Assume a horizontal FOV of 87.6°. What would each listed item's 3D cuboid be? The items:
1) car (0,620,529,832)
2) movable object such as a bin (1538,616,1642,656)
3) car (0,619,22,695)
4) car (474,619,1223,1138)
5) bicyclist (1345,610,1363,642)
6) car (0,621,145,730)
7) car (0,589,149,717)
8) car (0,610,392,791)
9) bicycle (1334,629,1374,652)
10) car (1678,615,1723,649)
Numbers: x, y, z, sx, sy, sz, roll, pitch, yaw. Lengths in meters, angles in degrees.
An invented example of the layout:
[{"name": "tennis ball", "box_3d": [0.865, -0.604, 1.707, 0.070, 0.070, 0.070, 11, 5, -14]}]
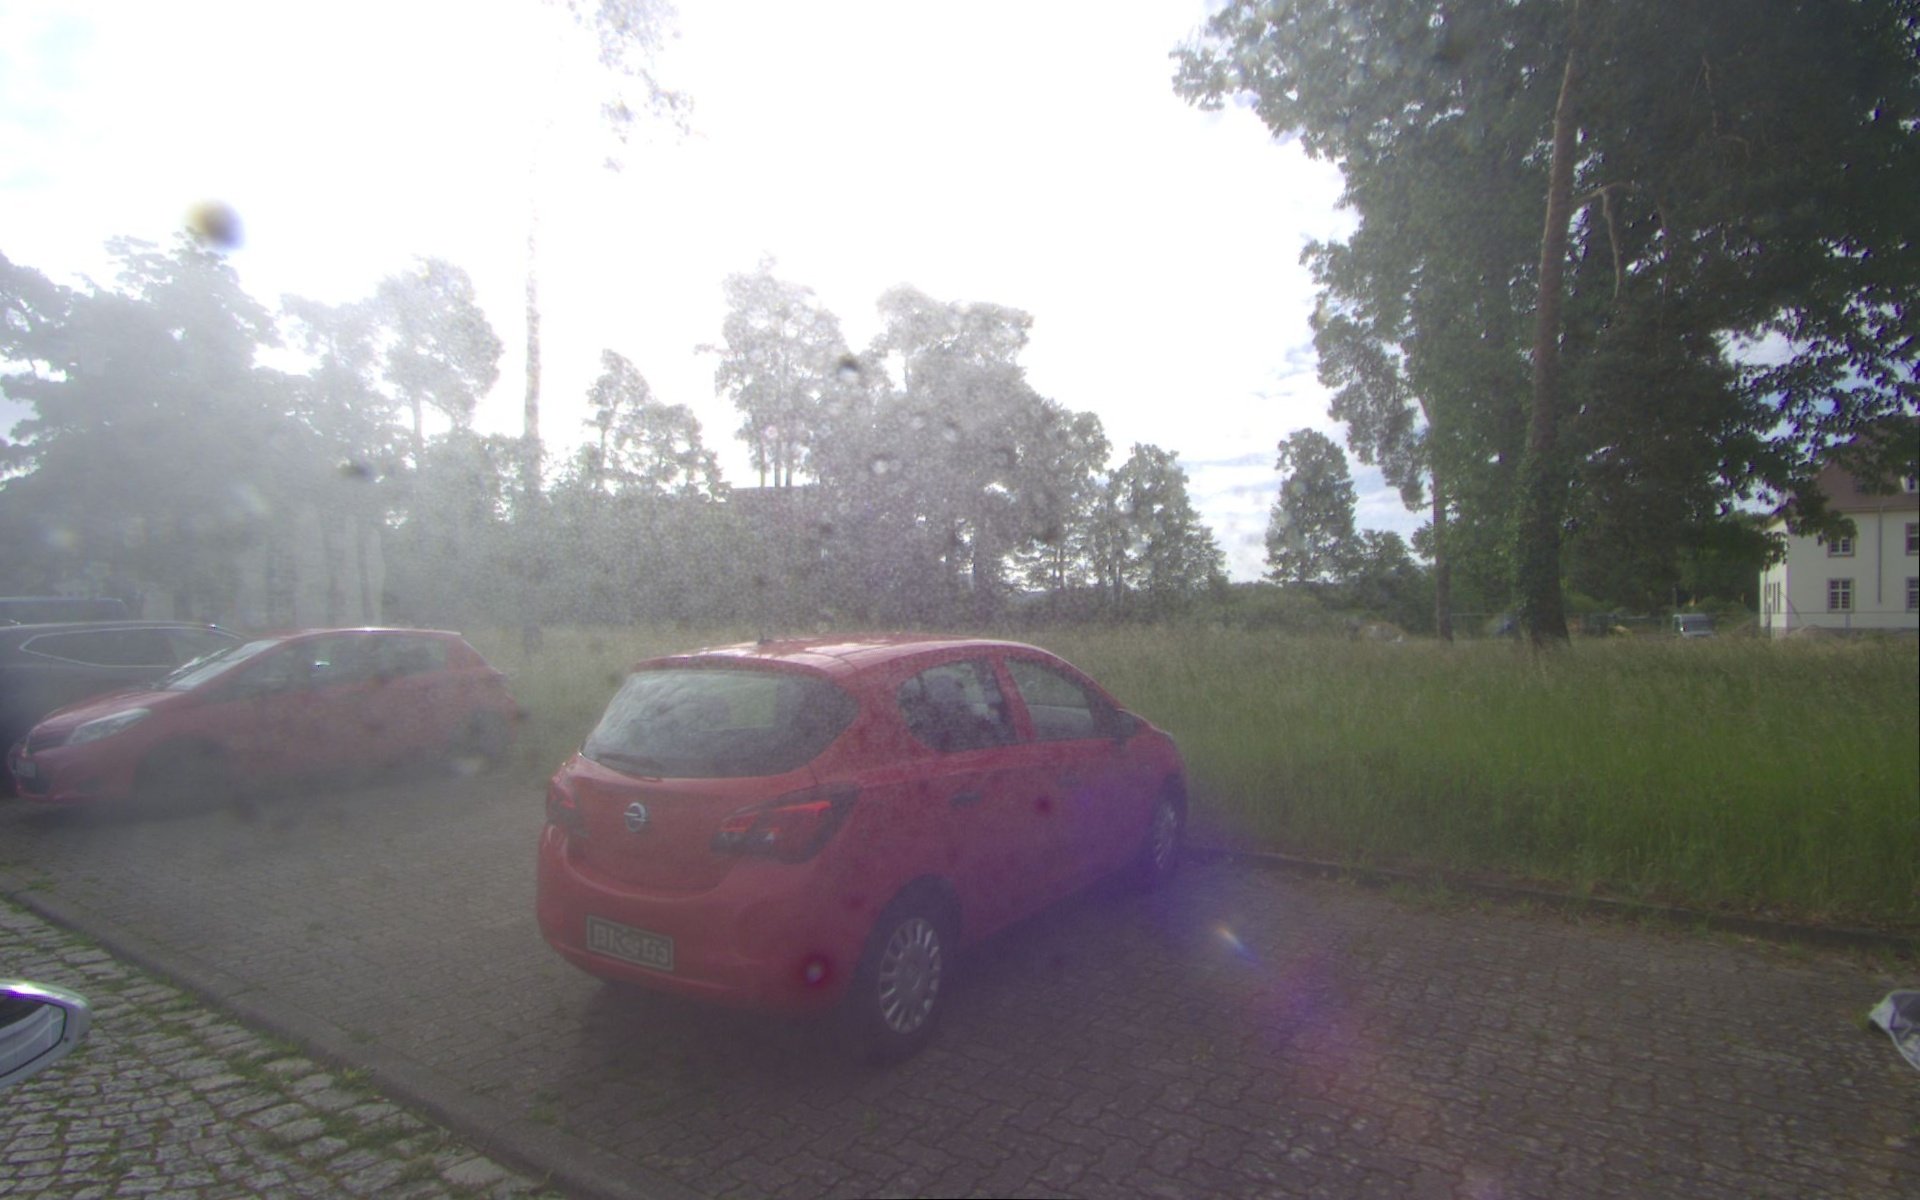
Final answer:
[{"name": "car", "box_3d": [-6.266, 0.962, 9.354, 1.727, 1.479, 3.782, -1, 0, 34]}, {"name": "movable object such as a bin", "box_3d": [44.315, 2.513, 70.592, 2.145, 2.688, 5.948, 1, -2, -30]}, {"name": "car", "box_3d": [-20.138, 1.131, 18.620, 1.502, 1.468, 3.664, -1, 0, 32]}, {"name": "car", "box_3d": [-0.146, 0.874, 5.072, 1.754, 1.479, 3.817, -1, 0, 33]}, {"name": "bicyclist", "box_3d": [21.449, 1.408, 54.509, 0.762, 1.717, 0.723, 0, -1, 33]}, {"name": "car", "box_3d": [-13.925, 1.061, 13.943, 1.591, 1.468, 3.665, -1, 0, 31]}, {"name": "car", "box_3d": [-15.906, 0.839, 15.584, 1.903, 1.980, 4.745, -1, 0, 32]}, {"name": "car", "box_3d": [-8.554, 0.928, 10.664, 1.725, 1.573, 4.021, -1, 0, 31]}, {"name": "bicycle", "box_3d": [21.428, 2.182, 54.473, 1.906, 1.244, 0.721, -1, -2, 34]}, {"name": "car", "box_3d": [54.907, 2.387, 74.323, 1.886, 2.378, 4.583, 0, -2, 26]}]
